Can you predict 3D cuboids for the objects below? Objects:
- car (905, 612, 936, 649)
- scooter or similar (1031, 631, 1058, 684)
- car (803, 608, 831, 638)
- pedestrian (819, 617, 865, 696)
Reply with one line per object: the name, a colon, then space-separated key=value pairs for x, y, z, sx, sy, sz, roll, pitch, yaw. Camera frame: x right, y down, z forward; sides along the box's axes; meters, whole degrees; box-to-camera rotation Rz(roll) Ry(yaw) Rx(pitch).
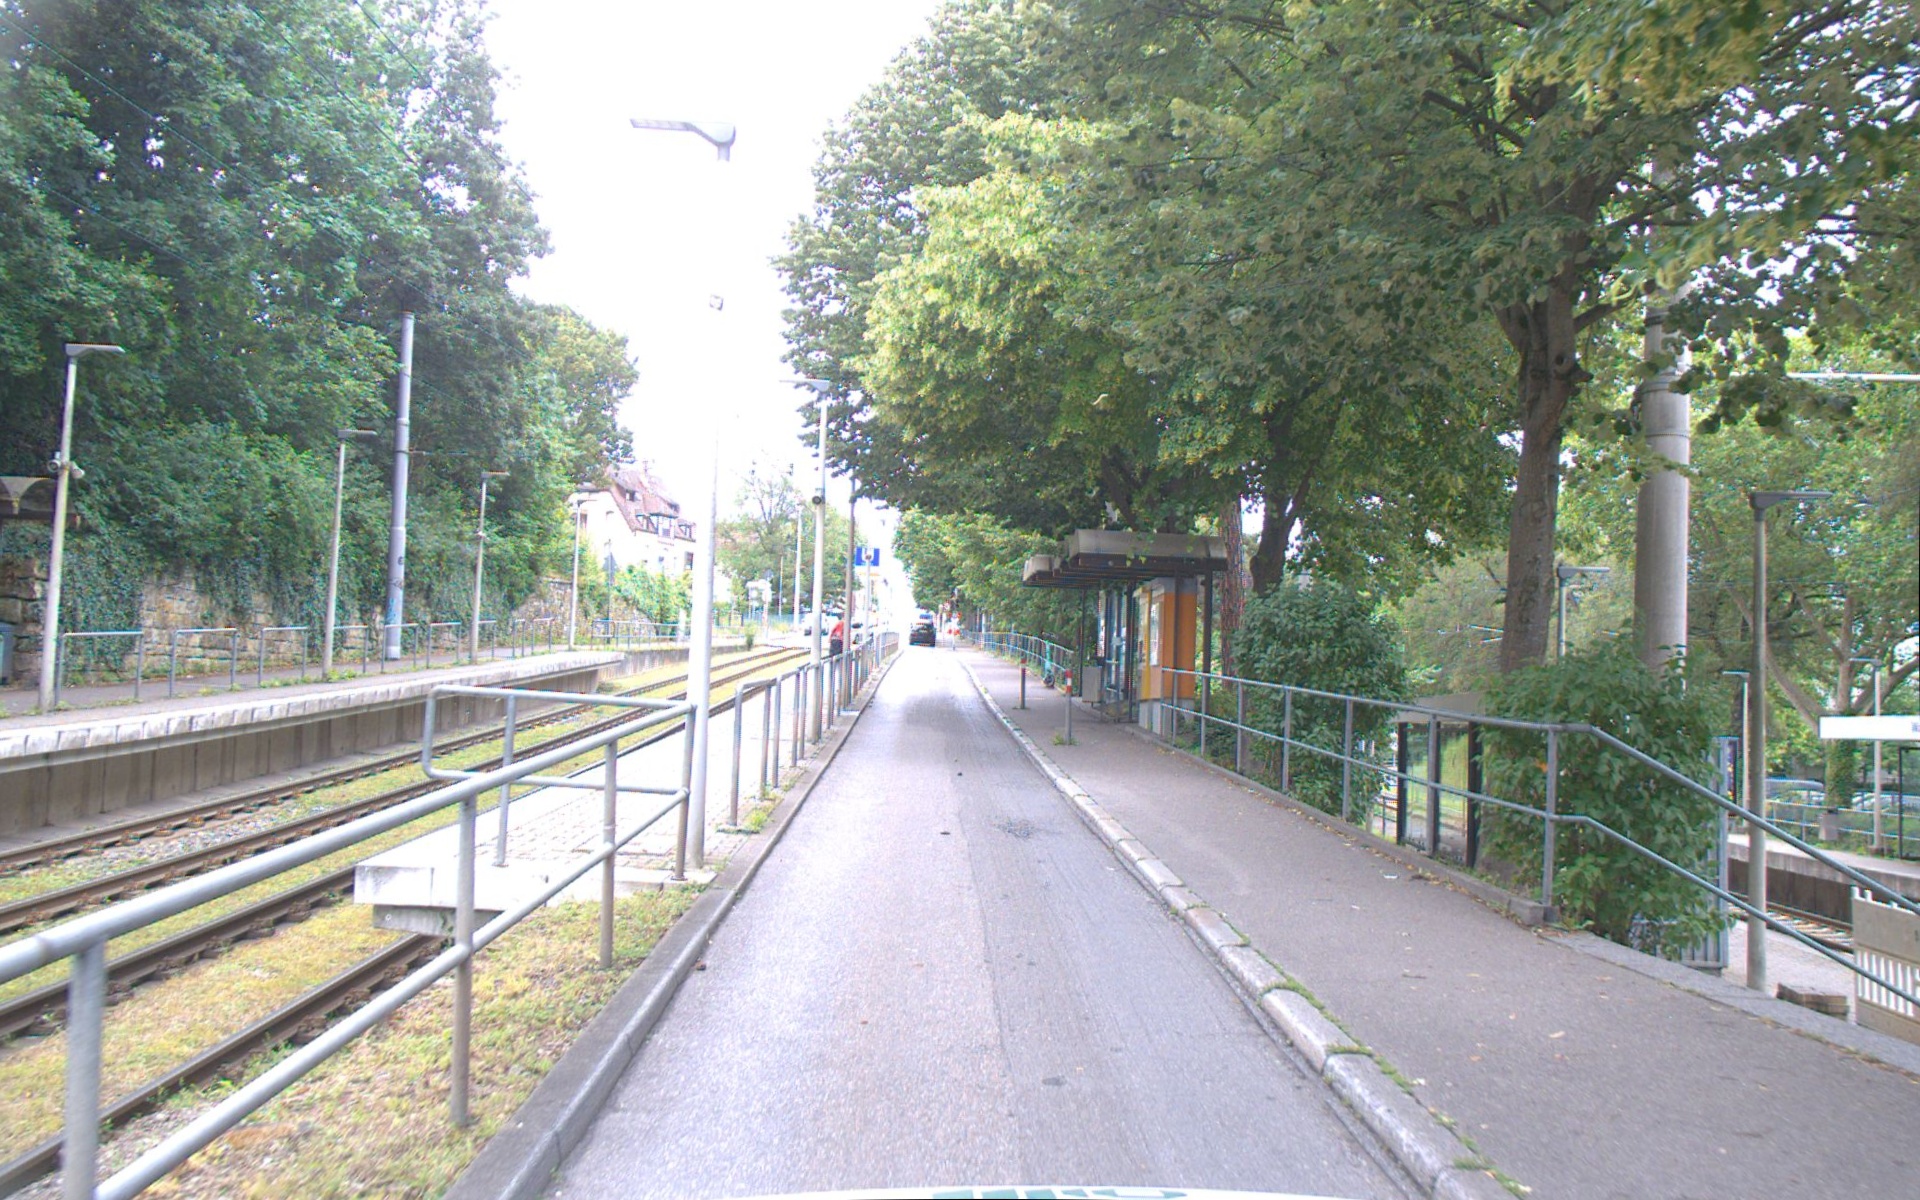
car: x=-2.761 y=2.141 z=114.731 sx=1.954 sy=2.183 sz=3.997 roll=5 pitch=-4 yaw=-2
scooter or similar: x=1.961 y=1.340 z=38.291 sx=0.336 sy=1.177 sz=1.144 roll=5 pitch=-4 yaw=-7
car: x=-12.080 y=2.003 z=140.196 sx=1.954 sy=2.183 sz=3.997 roll=5 pitch=-4 yaw=-2
pedestrian: x=-2.260 y=1.080 z=31.771 sx=0.727 sy=1.433 sz=0.746 roll=5 pitch=0 yaw=-2
